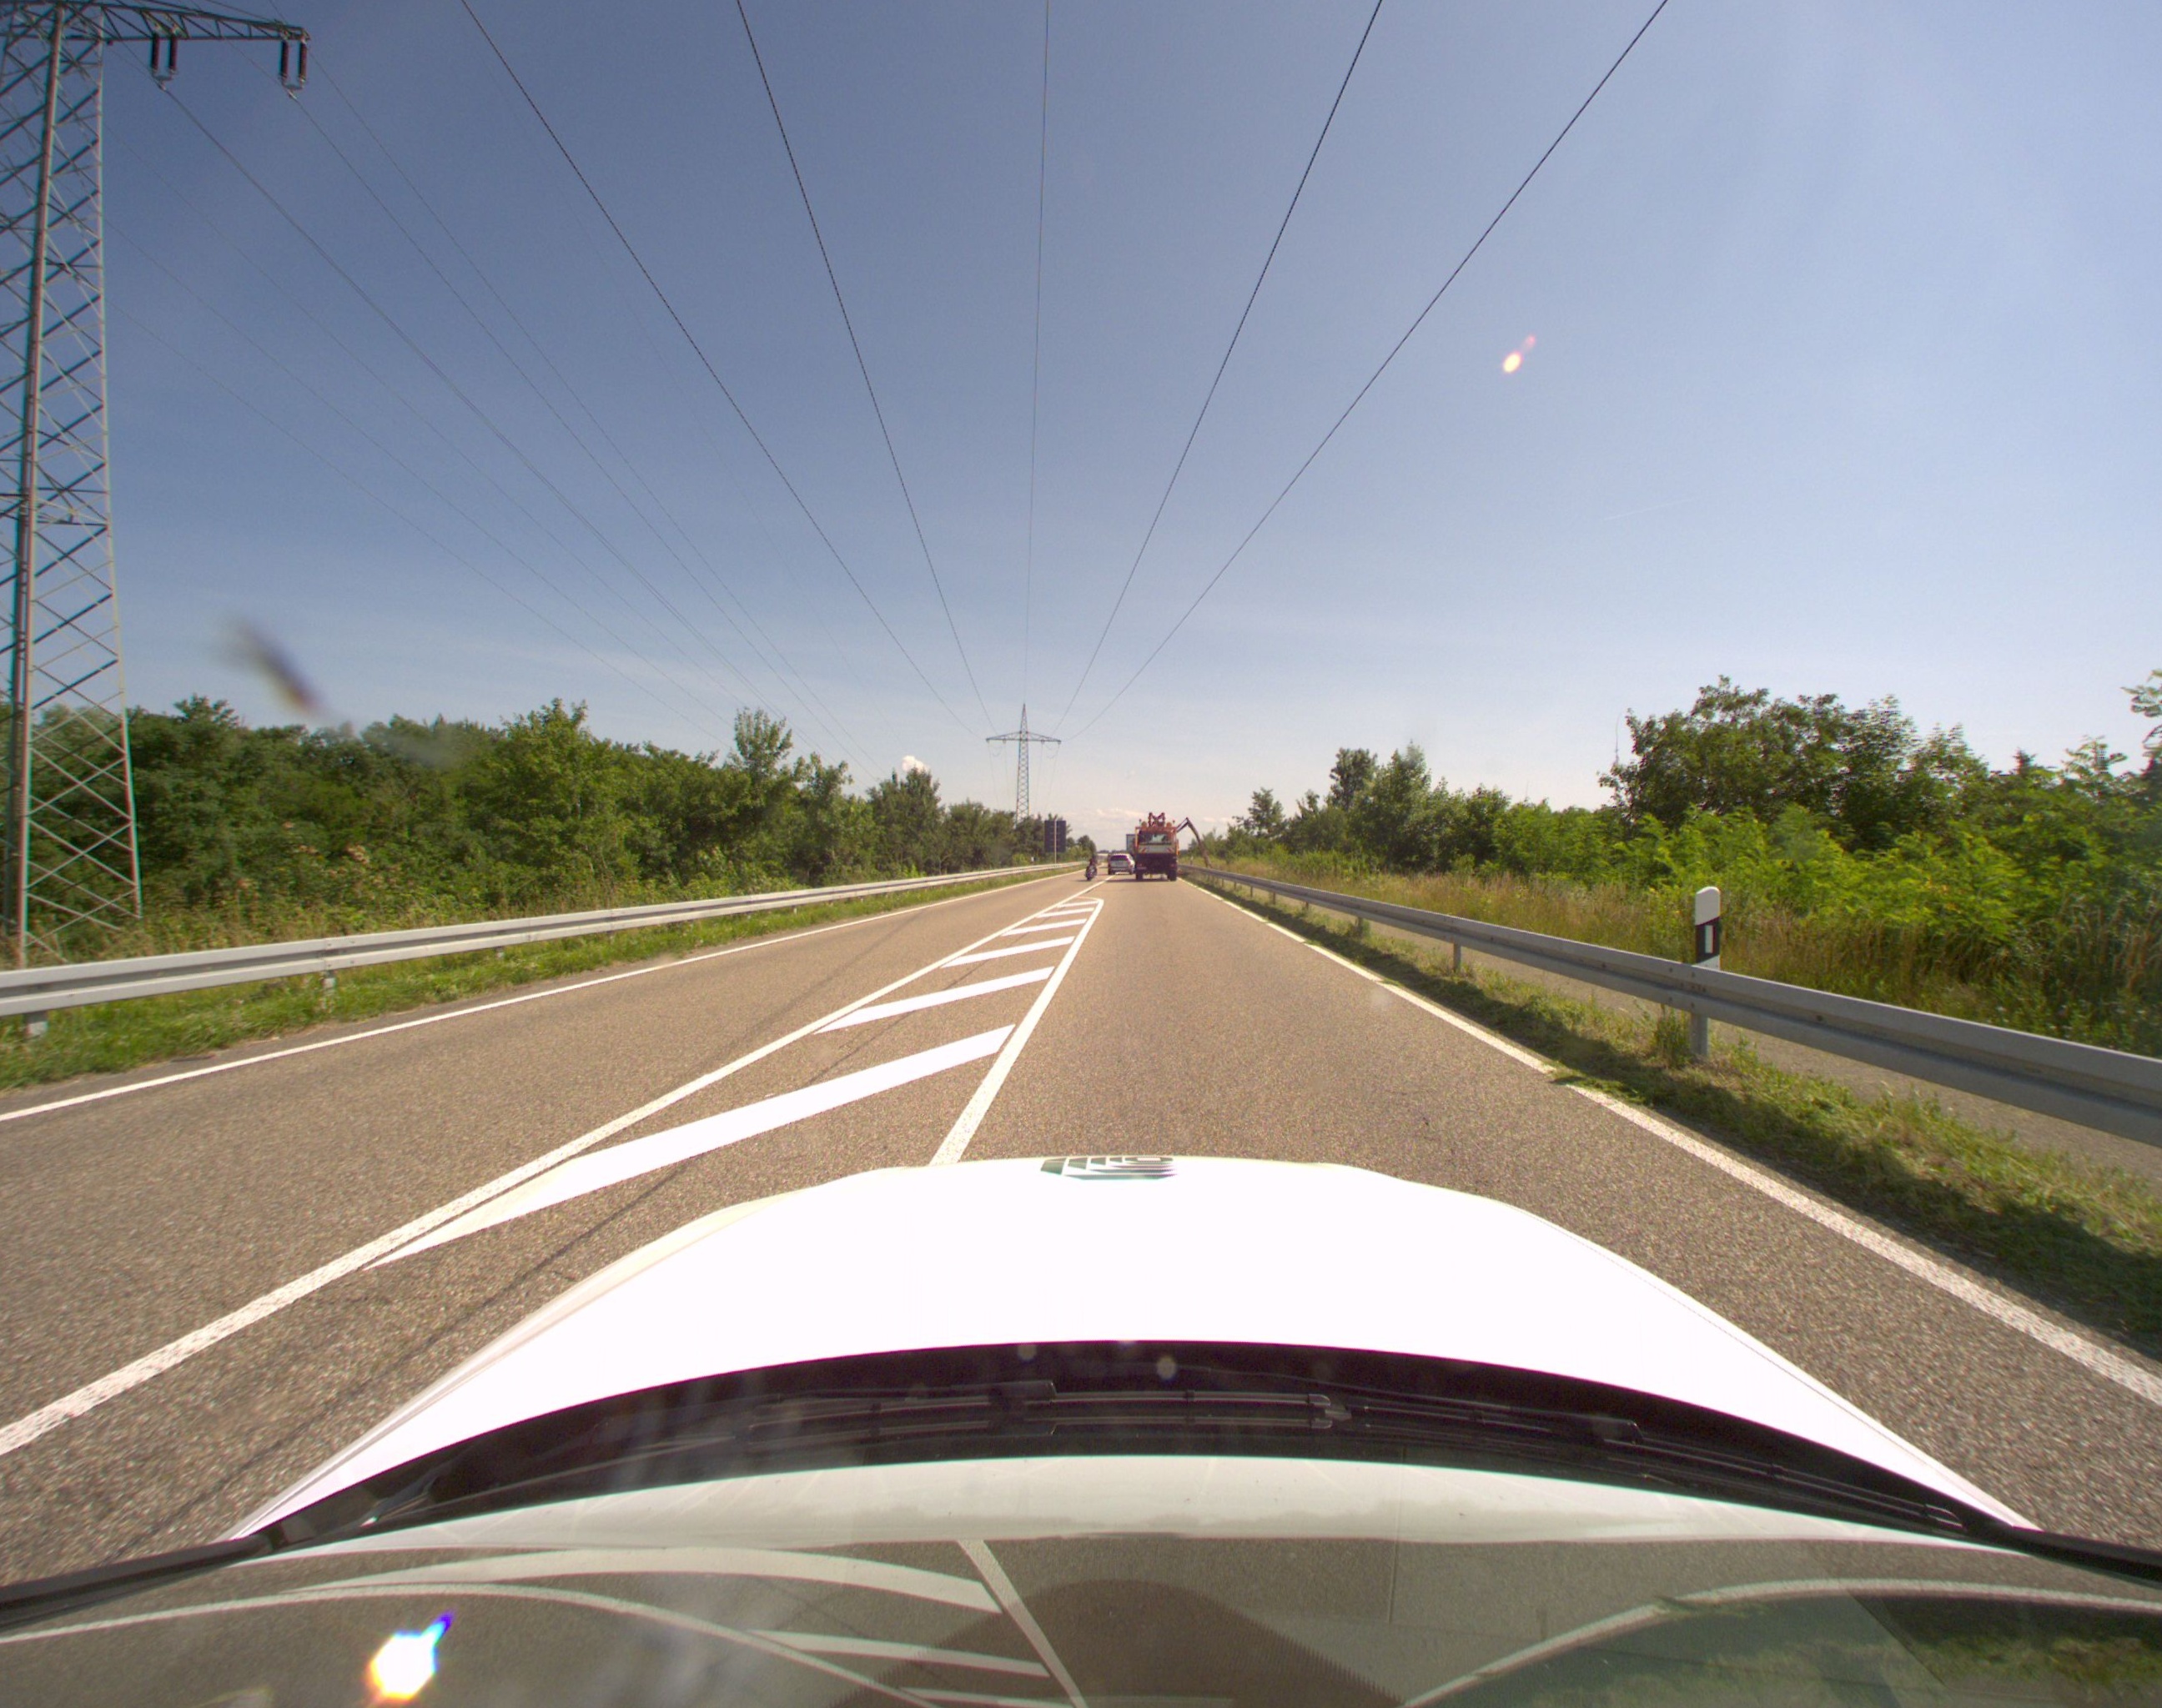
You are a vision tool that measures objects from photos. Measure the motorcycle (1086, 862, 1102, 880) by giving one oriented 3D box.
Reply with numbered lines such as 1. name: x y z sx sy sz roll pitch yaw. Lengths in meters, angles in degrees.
1. motorcycle: 0.745 0.952 46.129 0.777 0.975 2.364 0 0 4

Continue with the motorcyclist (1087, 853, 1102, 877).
1. motorcyclist: 0.754 0.637 46.145 0.777 1.325 0.814 0 0 4

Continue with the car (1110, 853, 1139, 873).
1. car: 3.304 0.638 61.139 1.815 1.451 4.010 0 0 9

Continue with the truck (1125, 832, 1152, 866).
1. truck: 7.182 -0.540 101.448 3.227 3.979 9.454 0 -1 4

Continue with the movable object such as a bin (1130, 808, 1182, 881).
1. movable object such as a bin: 4.348 -0.528 47.746 2.740 3.839 9.457 0 0 5
